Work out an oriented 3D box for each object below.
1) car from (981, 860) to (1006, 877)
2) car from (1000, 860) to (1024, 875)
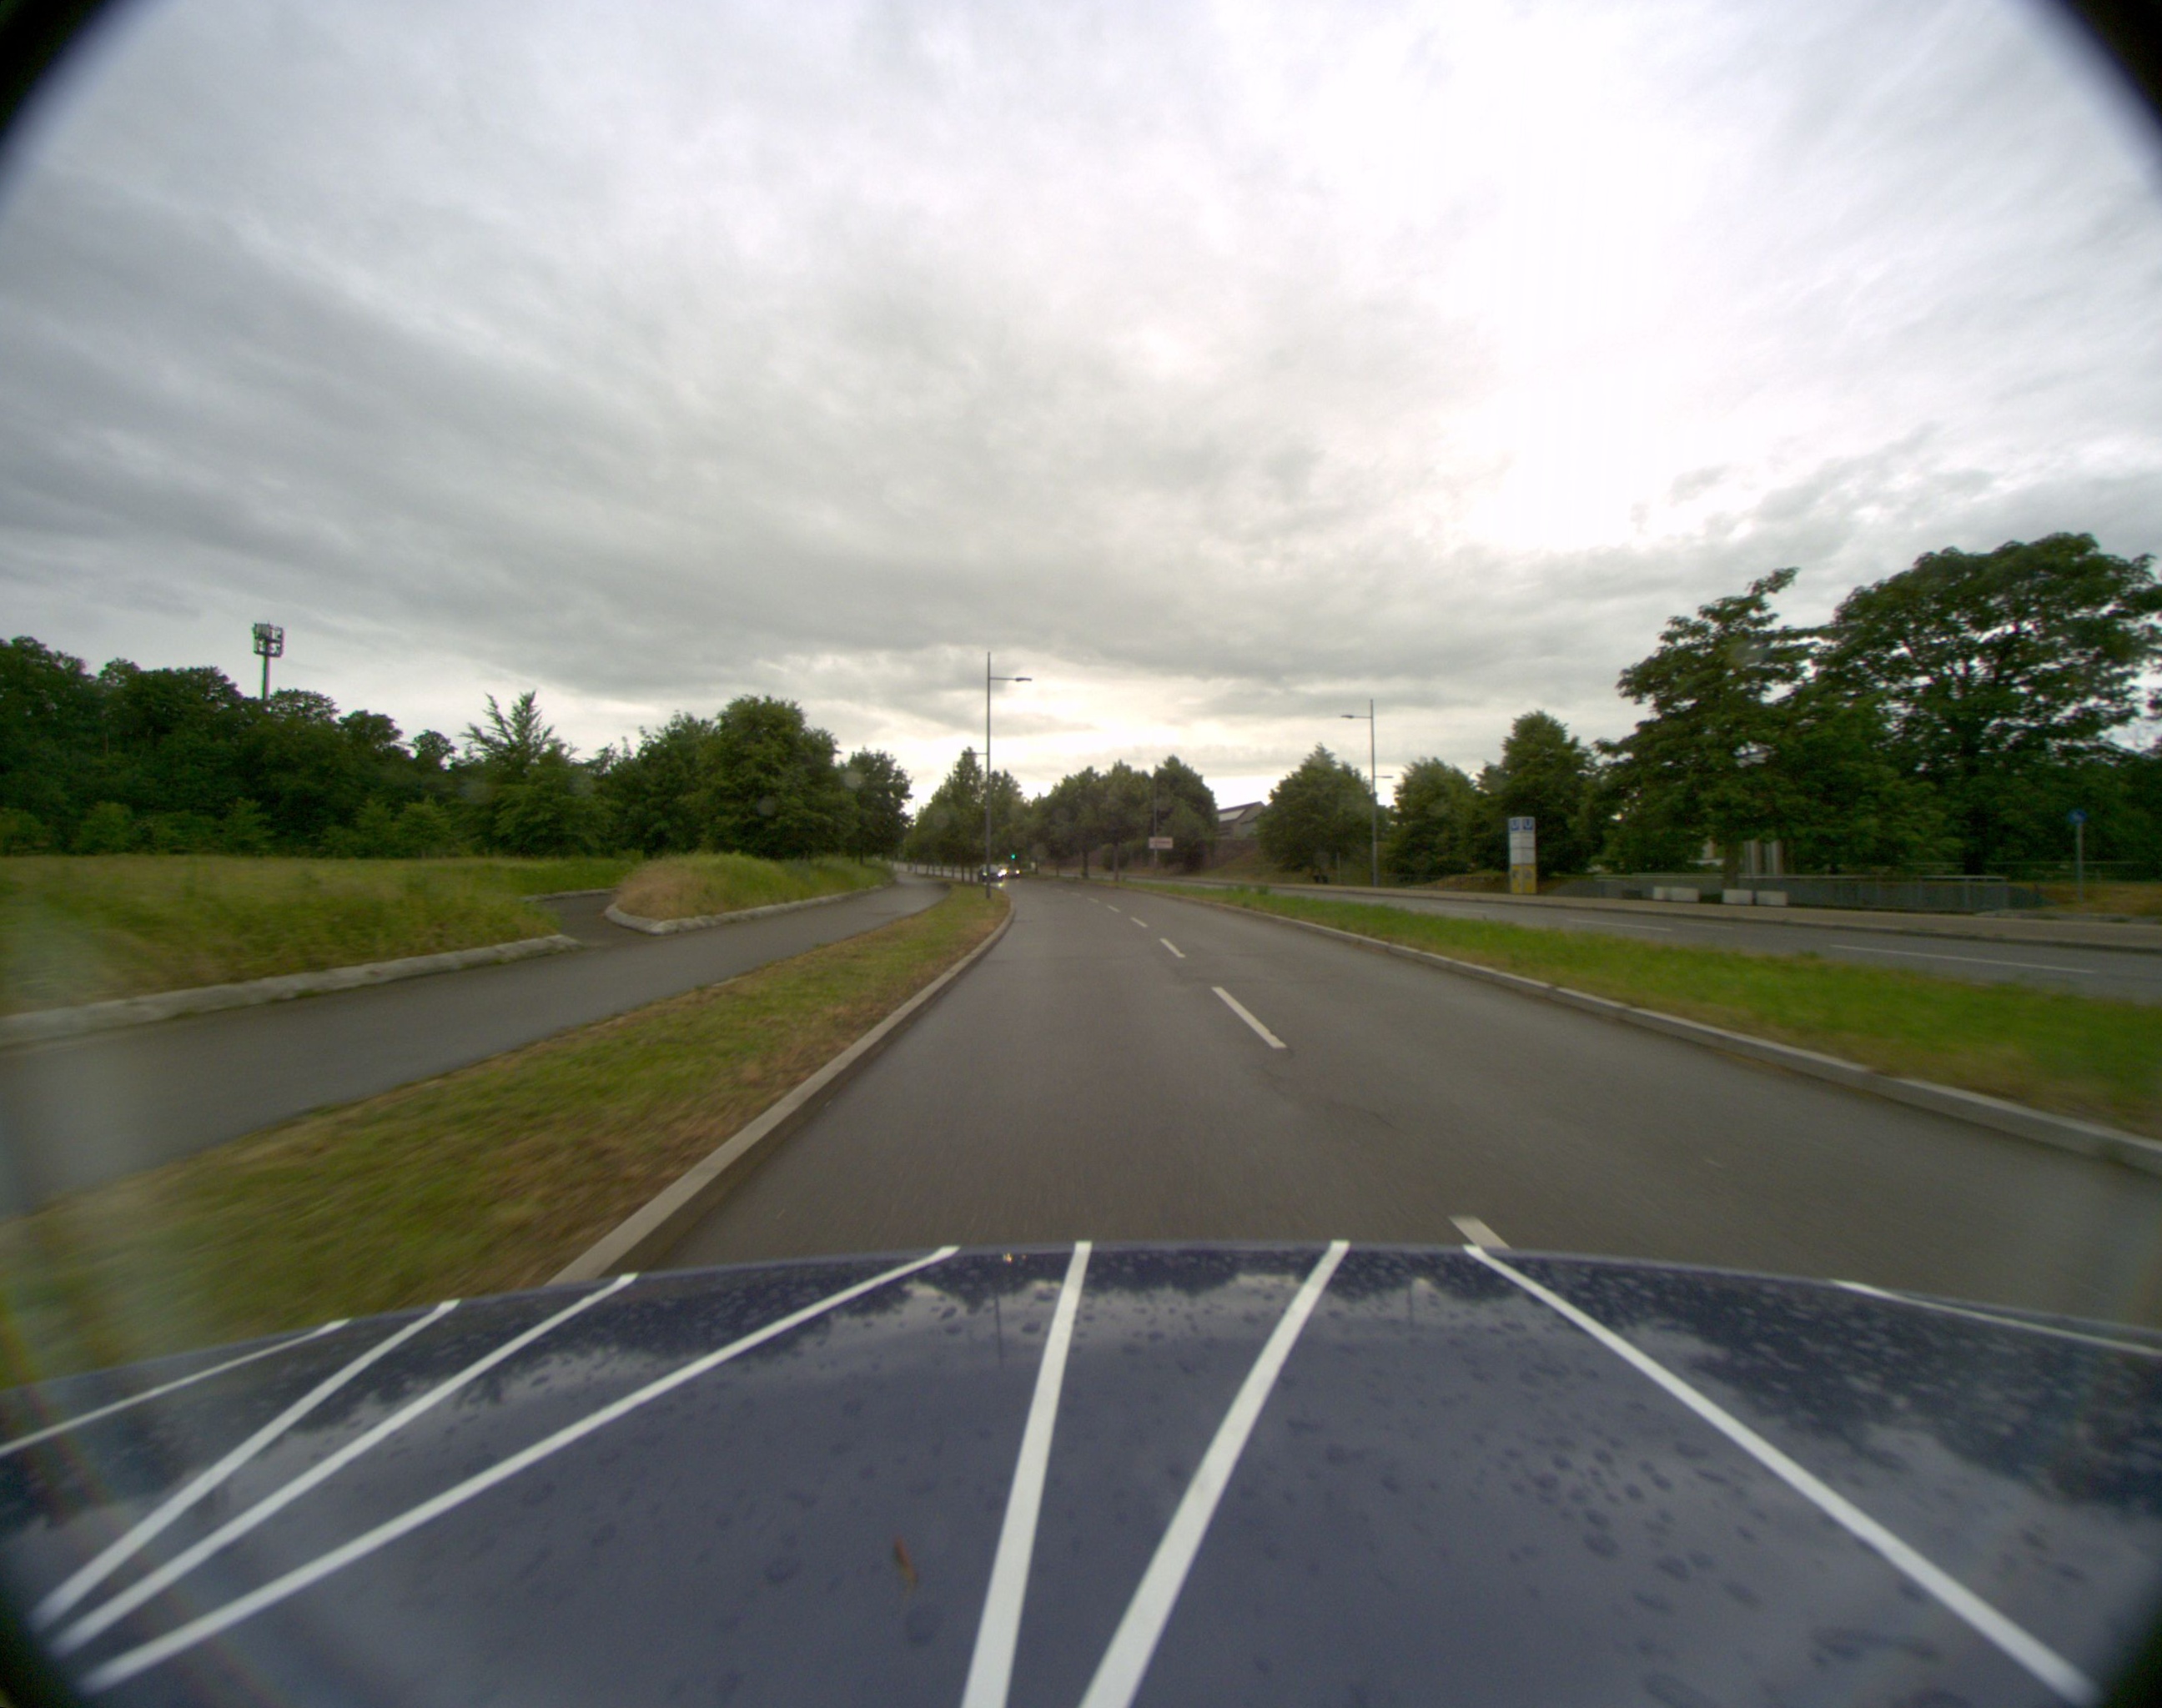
[{"bbox_3d":[-7.492,1.263,64.764,1.991,1.390,4.174,0,-2,-9],"label":"car"},{"bbox_3d":[-6.806,1.292,74.736,1.812,1.421,4.192,-1,0,-13],"label":"car"}]
